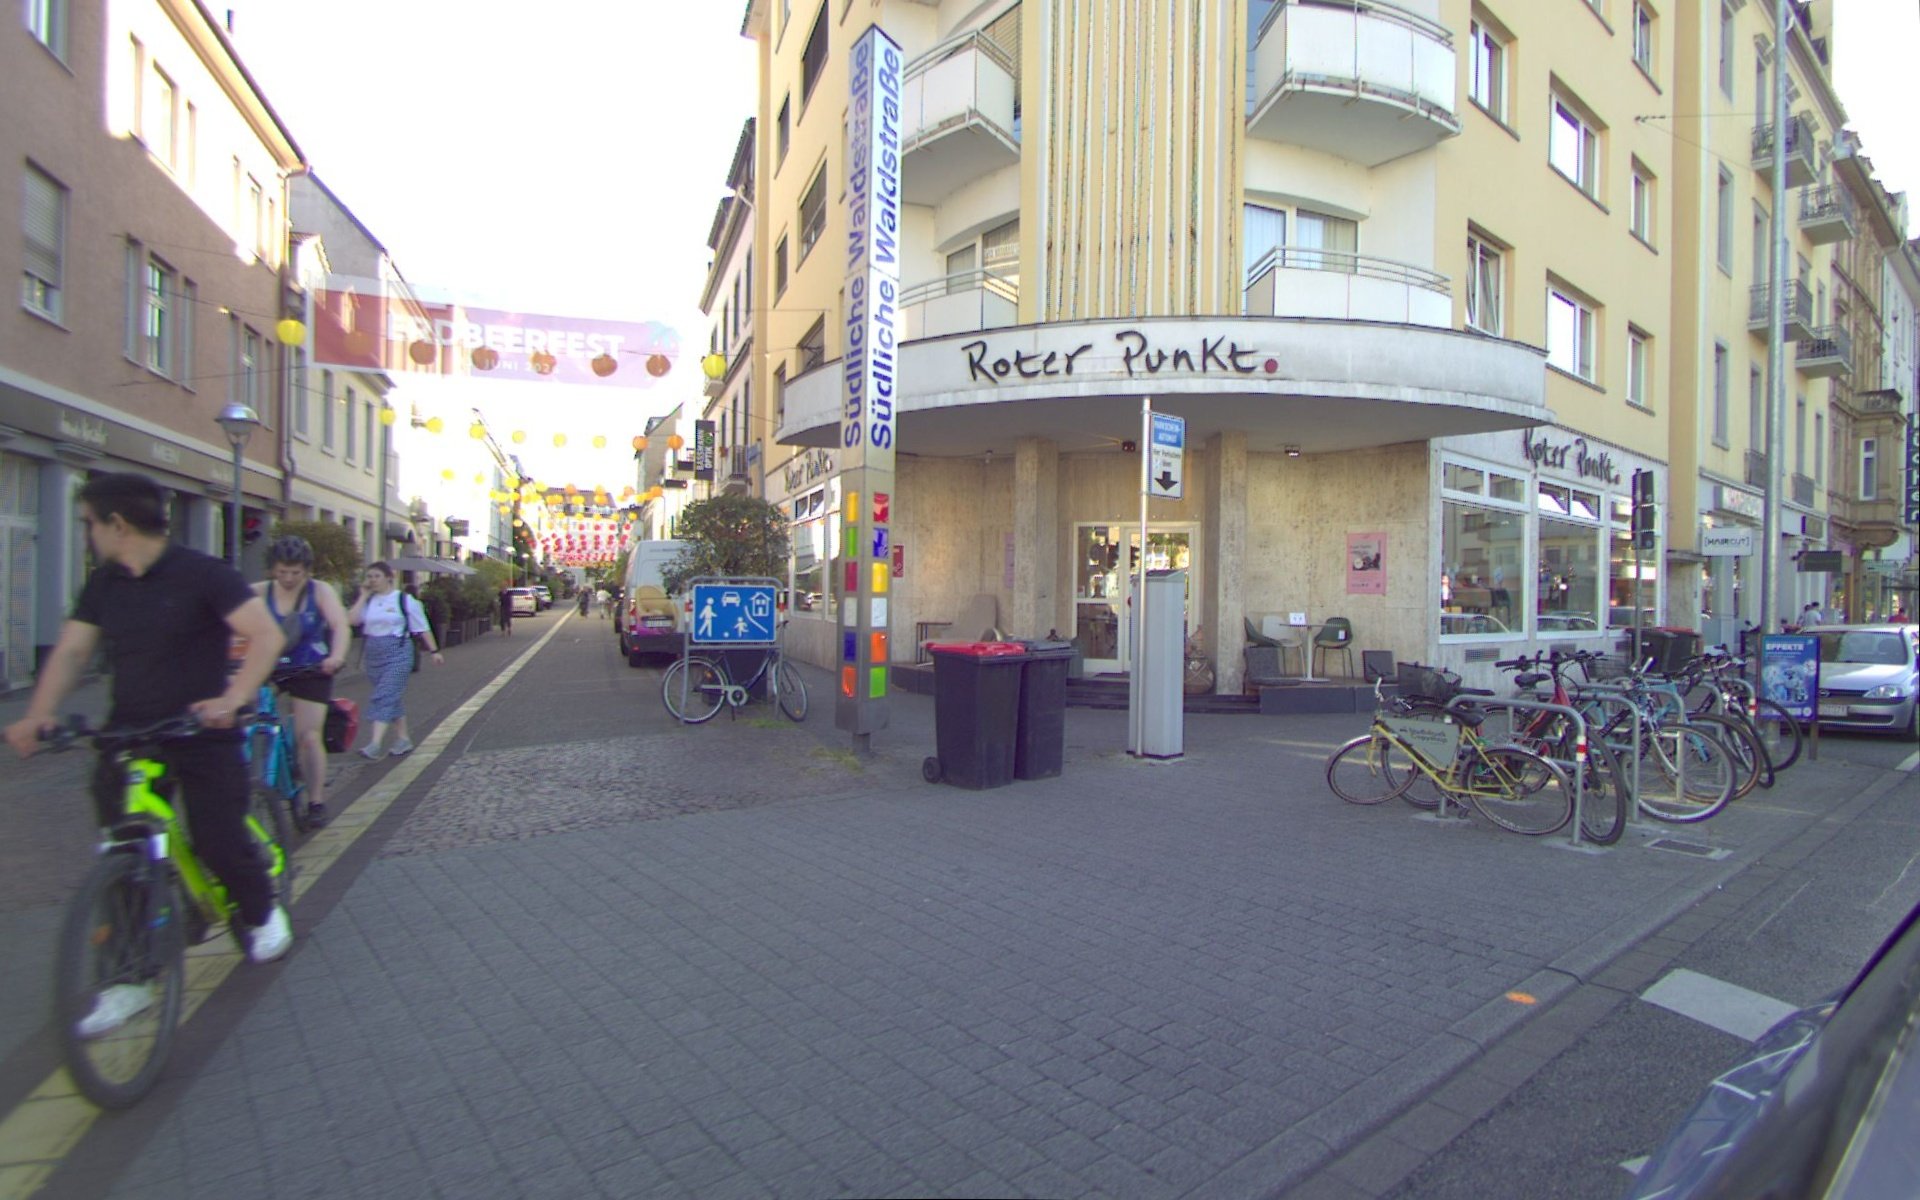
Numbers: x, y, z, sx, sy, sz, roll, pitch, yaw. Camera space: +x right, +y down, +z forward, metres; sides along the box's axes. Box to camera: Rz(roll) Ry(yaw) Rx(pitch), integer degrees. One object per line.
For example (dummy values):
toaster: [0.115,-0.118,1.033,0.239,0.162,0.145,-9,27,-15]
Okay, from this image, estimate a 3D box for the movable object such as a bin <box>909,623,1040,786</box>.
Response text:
movable object such as a bin: [0.104,0.750,7.663,0.609,1.126,0.809,0,0,-42]

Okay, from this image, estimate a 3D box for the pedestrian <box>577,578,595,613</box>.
pedestrian: [-18.220,-0.236,49.325,0.795,1.701,0.672,1,0,-20]

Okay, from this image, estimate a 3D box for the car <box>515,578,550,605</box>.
car: [-29.663,-0.621,70.255,1.958,1.786,4.258,1,1,-19]

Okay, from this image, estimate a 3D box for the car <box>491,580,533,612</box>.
car: [-23.098,-0.240,52.122,1.746,1.538,4.006,-1,1,-27]

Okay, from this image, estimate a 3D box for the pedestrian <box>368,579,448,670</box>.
pedestrian: [-9.528,0.391,17.527,1.089,1.499,1.086,-1,1,-23]

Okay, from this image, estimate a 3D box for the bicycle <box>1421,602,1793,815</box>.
bicycle: [4.544,0.670,7.252,0.699,1.259,2.137,1,1,-44]

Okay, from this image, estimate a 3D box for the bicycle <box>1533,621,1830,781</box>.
bicycle: [6.355,0.821,9.033,0.703,1.164,2.026,1,1,-39]

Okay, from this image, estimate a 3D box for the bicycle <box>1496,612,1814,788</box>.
bicycle: [5.469,0.711,8.085,0.741,1.172,1.961,1,1,-39]

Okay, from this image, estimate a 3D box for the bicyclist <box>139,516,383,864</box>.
bicyclist: [-3.554,0.410,5.245,0.711,1.603,1.033,1,0,-14]

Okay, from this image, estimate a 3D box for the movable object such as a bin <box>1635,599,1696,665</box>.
movable object such as a bin: [13.052,0.577,18.716,0.943,1.175,0.702,0,0,-40]

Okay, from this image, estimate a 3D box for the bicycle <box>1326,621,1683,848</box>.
bicycle: [3.619,0.796,6.843,1.941,1.227,0.918,2,1,44]

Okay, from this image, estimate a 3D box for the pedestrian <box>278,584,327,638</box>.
pedestrian: [-15.813,0.253,24.347,0.815,1.266,0.763,1,0,38]

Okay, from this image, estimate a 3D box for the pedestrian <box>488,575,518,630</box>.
pedestrian: [-14.408,0.084,31.913,0.795,1.701,0.672,1,0,-20]

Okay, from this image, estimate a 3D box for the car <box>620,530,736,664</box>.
car: [-6.085,-0.092,21.424,2.026,2.499,4.706,-1,1,-19]

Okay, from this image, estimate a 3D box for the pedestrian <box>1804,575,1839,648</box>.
pedestrian: [23.806,0.313,27.957,0.605,1.978,0.672,1,0,-44]

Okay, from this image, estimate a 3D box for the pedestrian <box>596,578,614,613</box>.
pedestrian: [-17.440,-0.233,49.719,0.795,1.701,0.672,1,0,-20]

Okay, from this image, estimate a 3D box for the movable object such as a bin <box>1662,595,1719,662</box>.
movable object such as a bin: [14.351,0.541,19.871,0.943,1.255,0.702,0,0,-40]

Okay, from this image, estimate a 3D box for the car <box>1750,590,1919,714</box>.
car: [12.171,0.598,13.546,3.928,1.415,1.693,0,1,-39]

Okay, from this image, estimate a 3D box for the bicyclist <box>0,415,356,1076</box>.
bicyclist: [-2.508,0.369,3.189,0.711,1.706,1.134,1,0,-13]

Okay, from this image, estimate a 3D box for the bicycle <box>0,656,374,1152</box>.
bicycle: [-2.590,0.794,3.383,0.548,1.032,1.920,1,2,-13]

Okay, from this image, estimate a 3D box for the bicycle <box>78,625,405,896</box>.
bicycle: [-3.687,0.723,5.422,0.718,1.110,1.924,1,0,-12]

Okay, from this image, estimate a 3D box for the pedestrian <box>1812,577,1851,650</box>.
pedestrian: [23.453,0.346,27.238,0.891,1.930,0.693,1,0,-44]

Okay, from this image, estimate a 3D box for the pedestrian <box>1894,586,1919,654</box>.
pedestrian: [27.715,0.572,29.475,0.891,1.930,0.693,1,0,-44]

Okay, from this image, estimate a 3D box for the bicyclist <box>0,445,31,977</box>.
bicyclist: [-3.839,0.365,3.498,1.135,1.783,0.743,1,0,38]

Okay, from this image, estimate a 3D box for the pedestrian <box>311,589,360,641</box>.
pedestrian: [-15.078,0.360,24.460,0.802,1.207,1.131,1,0,-22]

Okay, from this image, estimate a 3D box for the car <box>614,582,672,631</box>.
car: [-11.434,0.194,36.552,1.860,1.661,4.124,1,1,-17]

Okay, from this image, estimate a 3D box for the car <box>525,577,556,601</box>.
car: [-32.746,-0.877,79.160,1.958,1.785,4.611,1,1,-19]

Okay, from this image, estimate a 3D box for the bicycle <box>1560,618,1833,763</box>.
bicycle: [7.114,0.809,9.881,0.671,1.196,2.049,1,1,-39]

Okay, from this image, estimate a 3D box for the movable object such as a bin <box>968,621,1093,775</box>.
movable object such as a bin: [0.557,0.741,8.080,0.609,1.126,0.809,0,0,-42]

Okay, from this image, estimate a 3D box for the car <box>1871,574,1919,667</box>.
car: [19.875,0.394,20.324,4.128,1.756,1.996,0,1,-43]

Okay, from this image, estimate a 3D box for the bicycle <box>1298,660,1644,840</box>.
bicycle: [3.202,0.879,6.473,1.843,0.842,0.730,2,1,45]

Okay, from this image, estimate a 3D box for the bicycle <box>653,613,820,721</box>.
bicycle: [-2.452,0.707,11.140,1.713,1.102,0.562,0,0,-25]

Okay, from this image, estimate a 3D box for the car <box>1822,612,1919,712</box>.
car: [15.607,0.953,16.677,3.933,1.443,1.738,0,1,-43]

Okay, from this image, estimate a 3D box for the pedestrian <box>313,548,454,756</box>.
pedestrian: [-4.869,0.421,8.605,0.751,1.679,0.816,0,0,-4]

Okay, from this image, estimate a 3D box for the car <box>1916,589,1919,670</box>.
car: [24.572,0.709,24.508,1.993,1.902,3.938,1,1,43]
